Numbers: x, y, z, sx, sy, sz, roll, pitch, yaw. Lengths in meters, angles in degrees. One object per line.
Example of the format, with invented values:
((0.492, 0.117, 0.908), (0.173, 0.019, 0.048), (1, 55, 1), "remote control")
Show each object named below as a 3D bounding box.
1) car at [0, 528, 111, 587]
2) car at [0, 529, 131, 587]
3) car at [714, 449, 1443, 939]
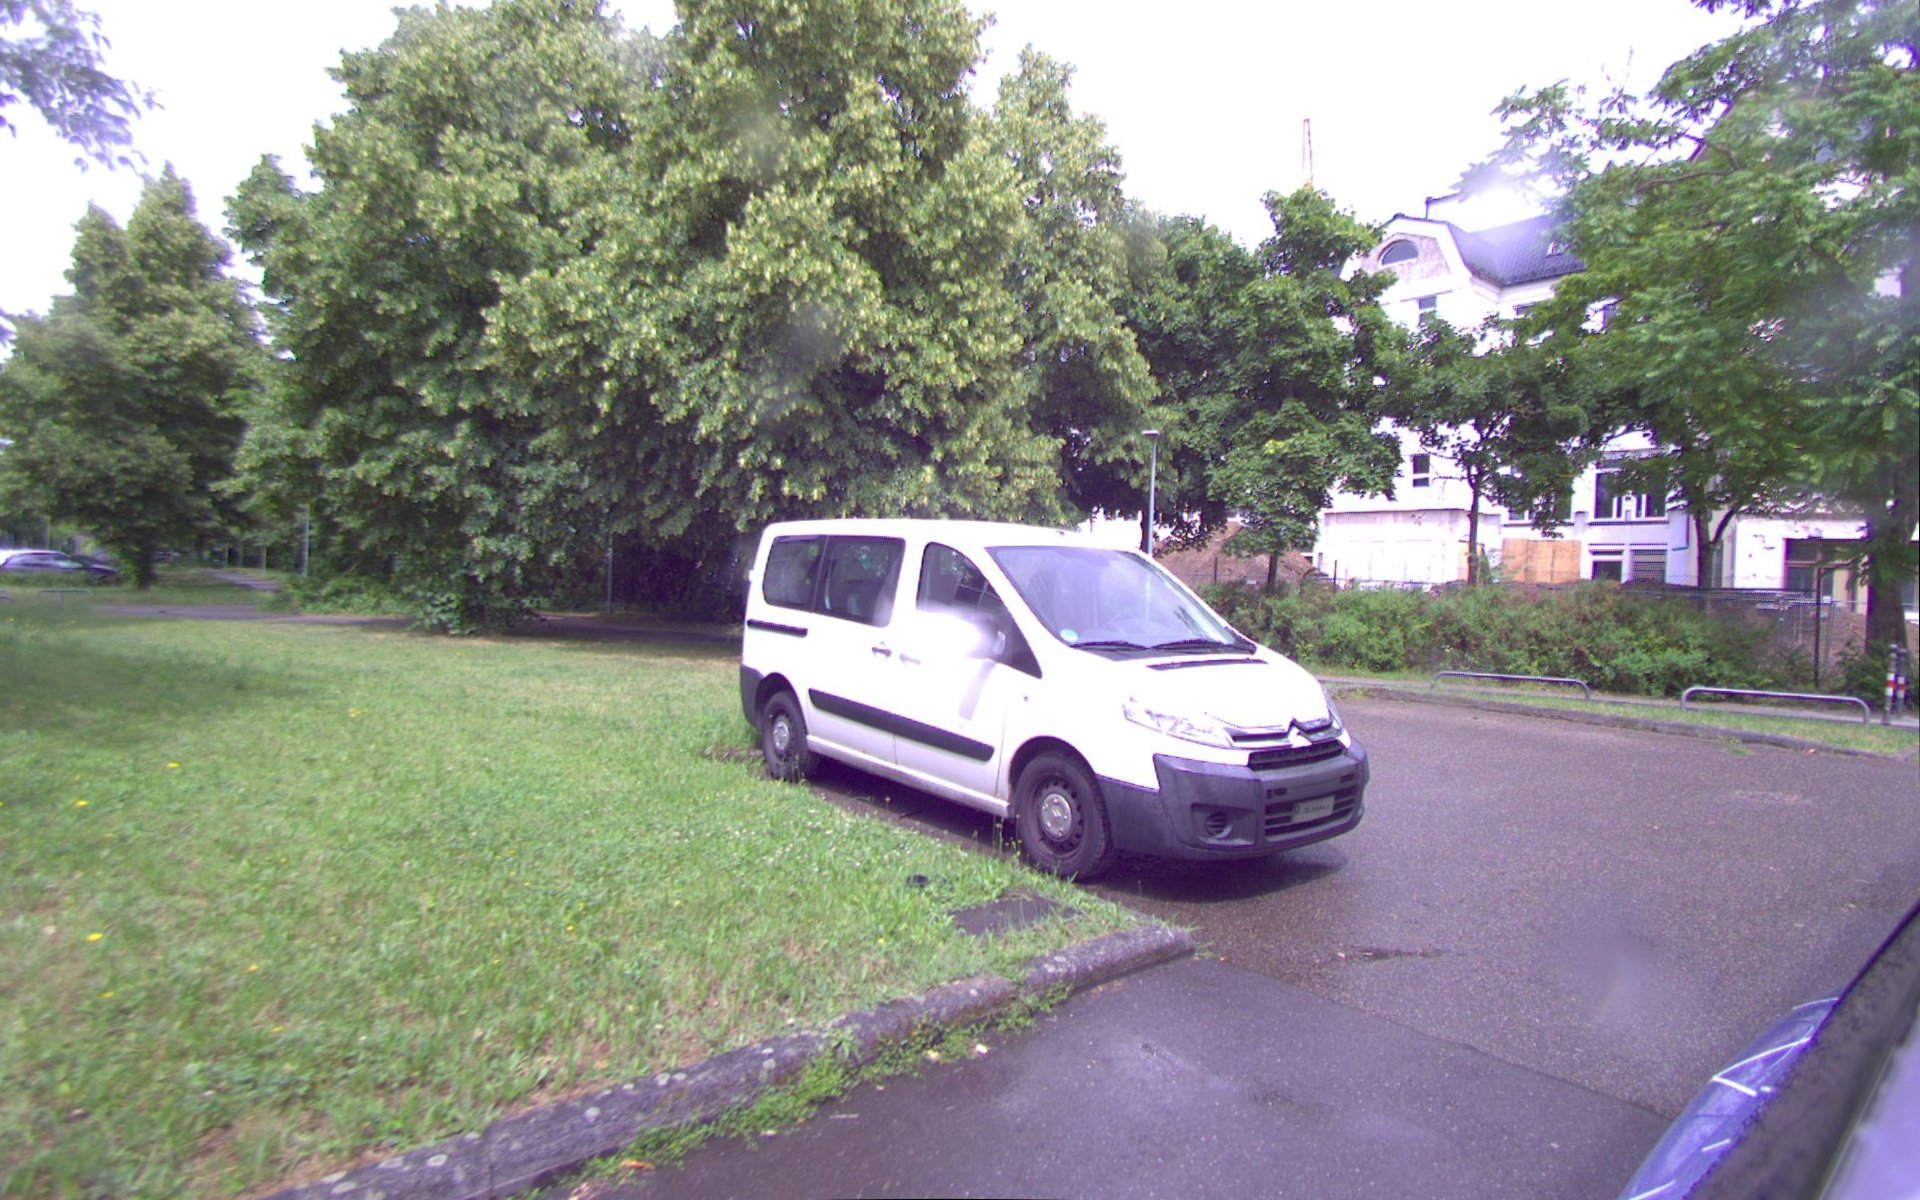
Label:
((-35.335, -1.627, 38.704), (4.302, 2.039, 1.997), (3, -1, -41), "car")
((-36.363, -1.644, 40.902), (4.302, 2.039, 1.997), (3, -1, -41), "car")
((0.293, 0.337, 6.801), (1.962, 2.039, 4.952), (2, 1, -36), "car")
